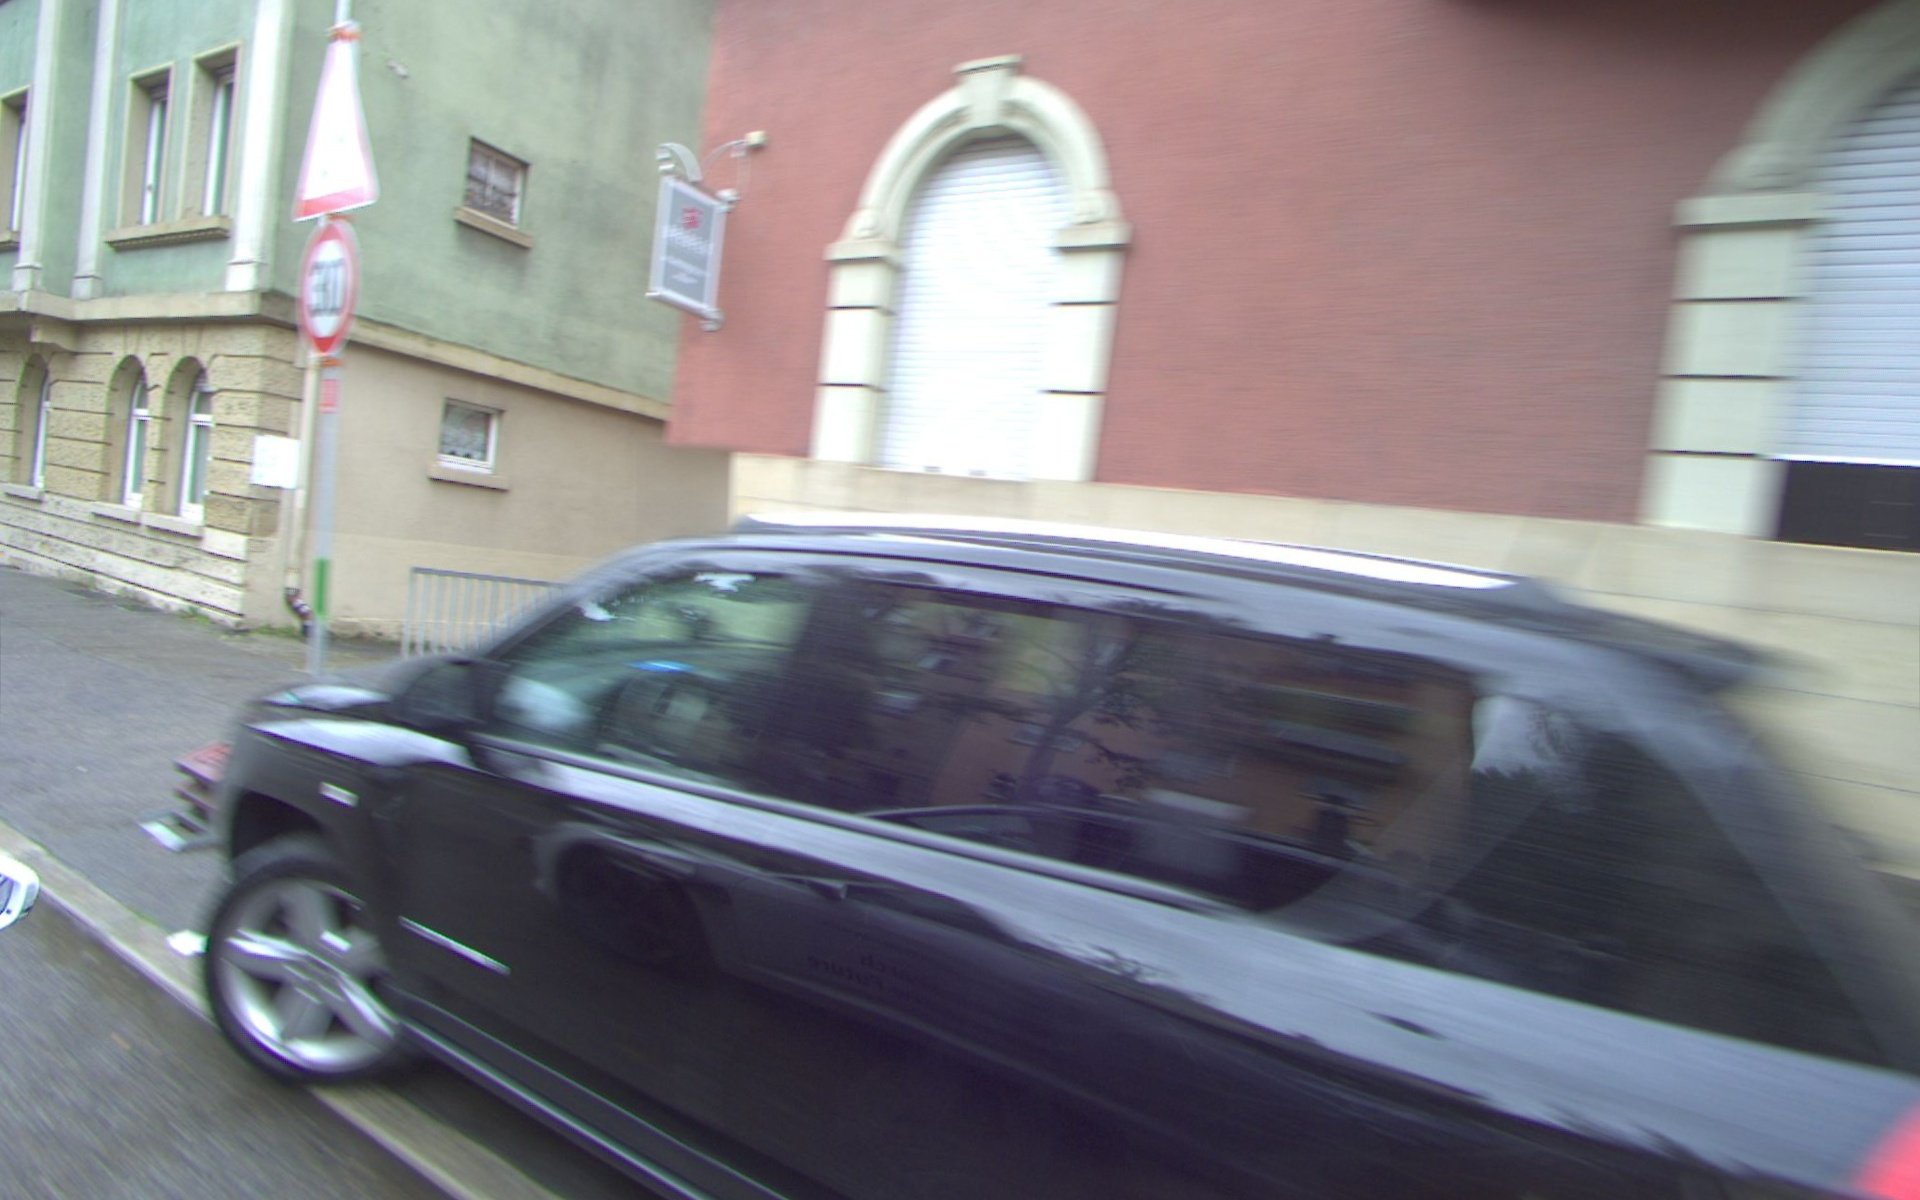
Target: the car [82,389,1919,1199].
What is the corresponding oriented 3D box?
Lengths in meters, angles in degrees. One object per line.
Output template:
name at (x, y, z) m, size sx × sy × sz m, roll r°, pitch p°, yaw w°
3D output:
car at (-0.289, 0.484, 2.710) m, size 4.620 × 1.652 × 1.876 m, roll 6°, pitch 3°, yaw 32°
